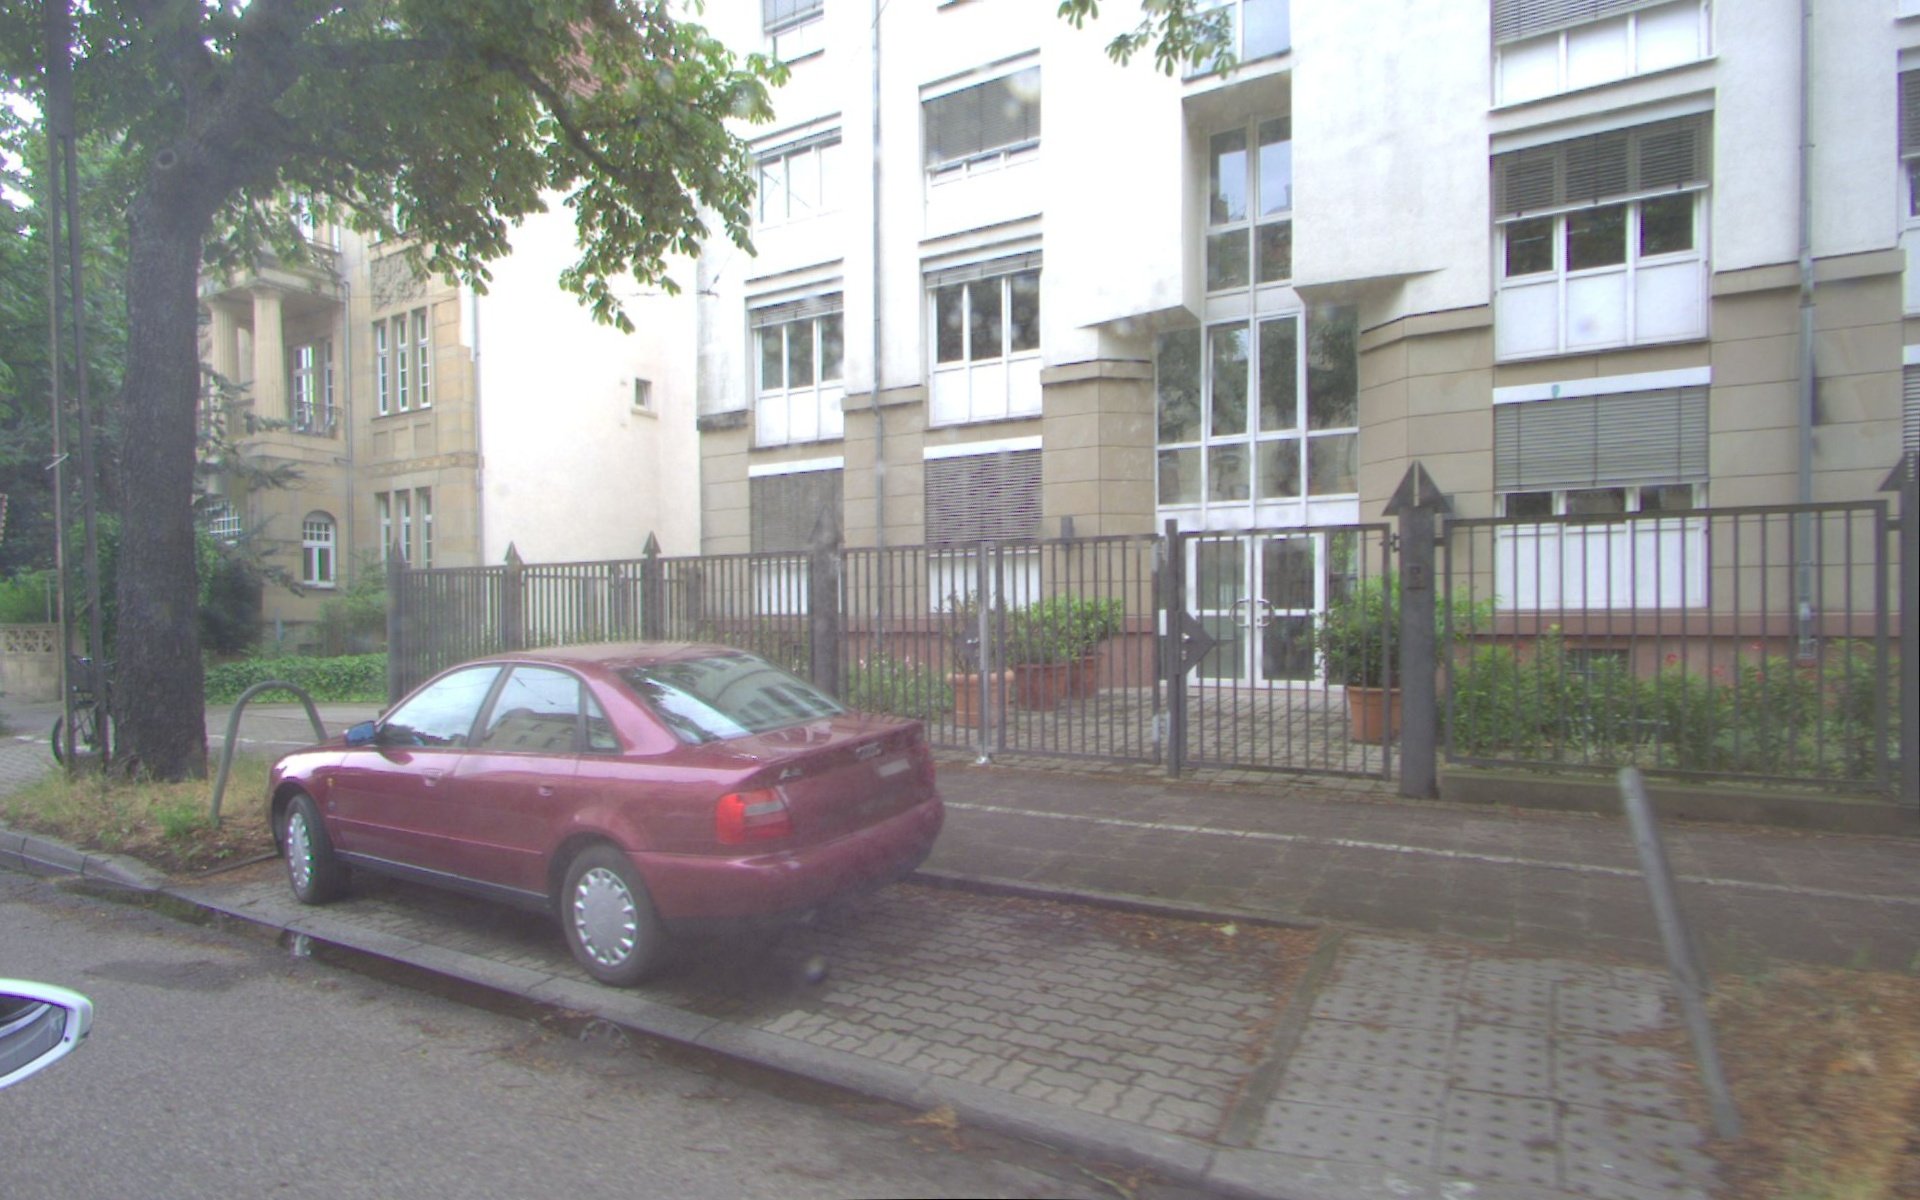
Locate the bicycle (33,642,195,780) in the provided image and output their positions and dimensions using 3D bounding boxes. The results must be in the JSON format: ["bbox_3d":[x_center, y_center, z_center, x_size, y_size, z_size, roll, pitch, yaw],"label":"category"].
[{"bbox_3d":[-8.278,1.030,9.889,0.425,1.213,1.902,0,-2,-14],"label":"bicycle"}]

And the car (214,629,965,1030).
[{"bbox_3d":[-2.173,0.918,5.525,4.164,1.418,1.599,-1,2,31],"label":"car"}]
